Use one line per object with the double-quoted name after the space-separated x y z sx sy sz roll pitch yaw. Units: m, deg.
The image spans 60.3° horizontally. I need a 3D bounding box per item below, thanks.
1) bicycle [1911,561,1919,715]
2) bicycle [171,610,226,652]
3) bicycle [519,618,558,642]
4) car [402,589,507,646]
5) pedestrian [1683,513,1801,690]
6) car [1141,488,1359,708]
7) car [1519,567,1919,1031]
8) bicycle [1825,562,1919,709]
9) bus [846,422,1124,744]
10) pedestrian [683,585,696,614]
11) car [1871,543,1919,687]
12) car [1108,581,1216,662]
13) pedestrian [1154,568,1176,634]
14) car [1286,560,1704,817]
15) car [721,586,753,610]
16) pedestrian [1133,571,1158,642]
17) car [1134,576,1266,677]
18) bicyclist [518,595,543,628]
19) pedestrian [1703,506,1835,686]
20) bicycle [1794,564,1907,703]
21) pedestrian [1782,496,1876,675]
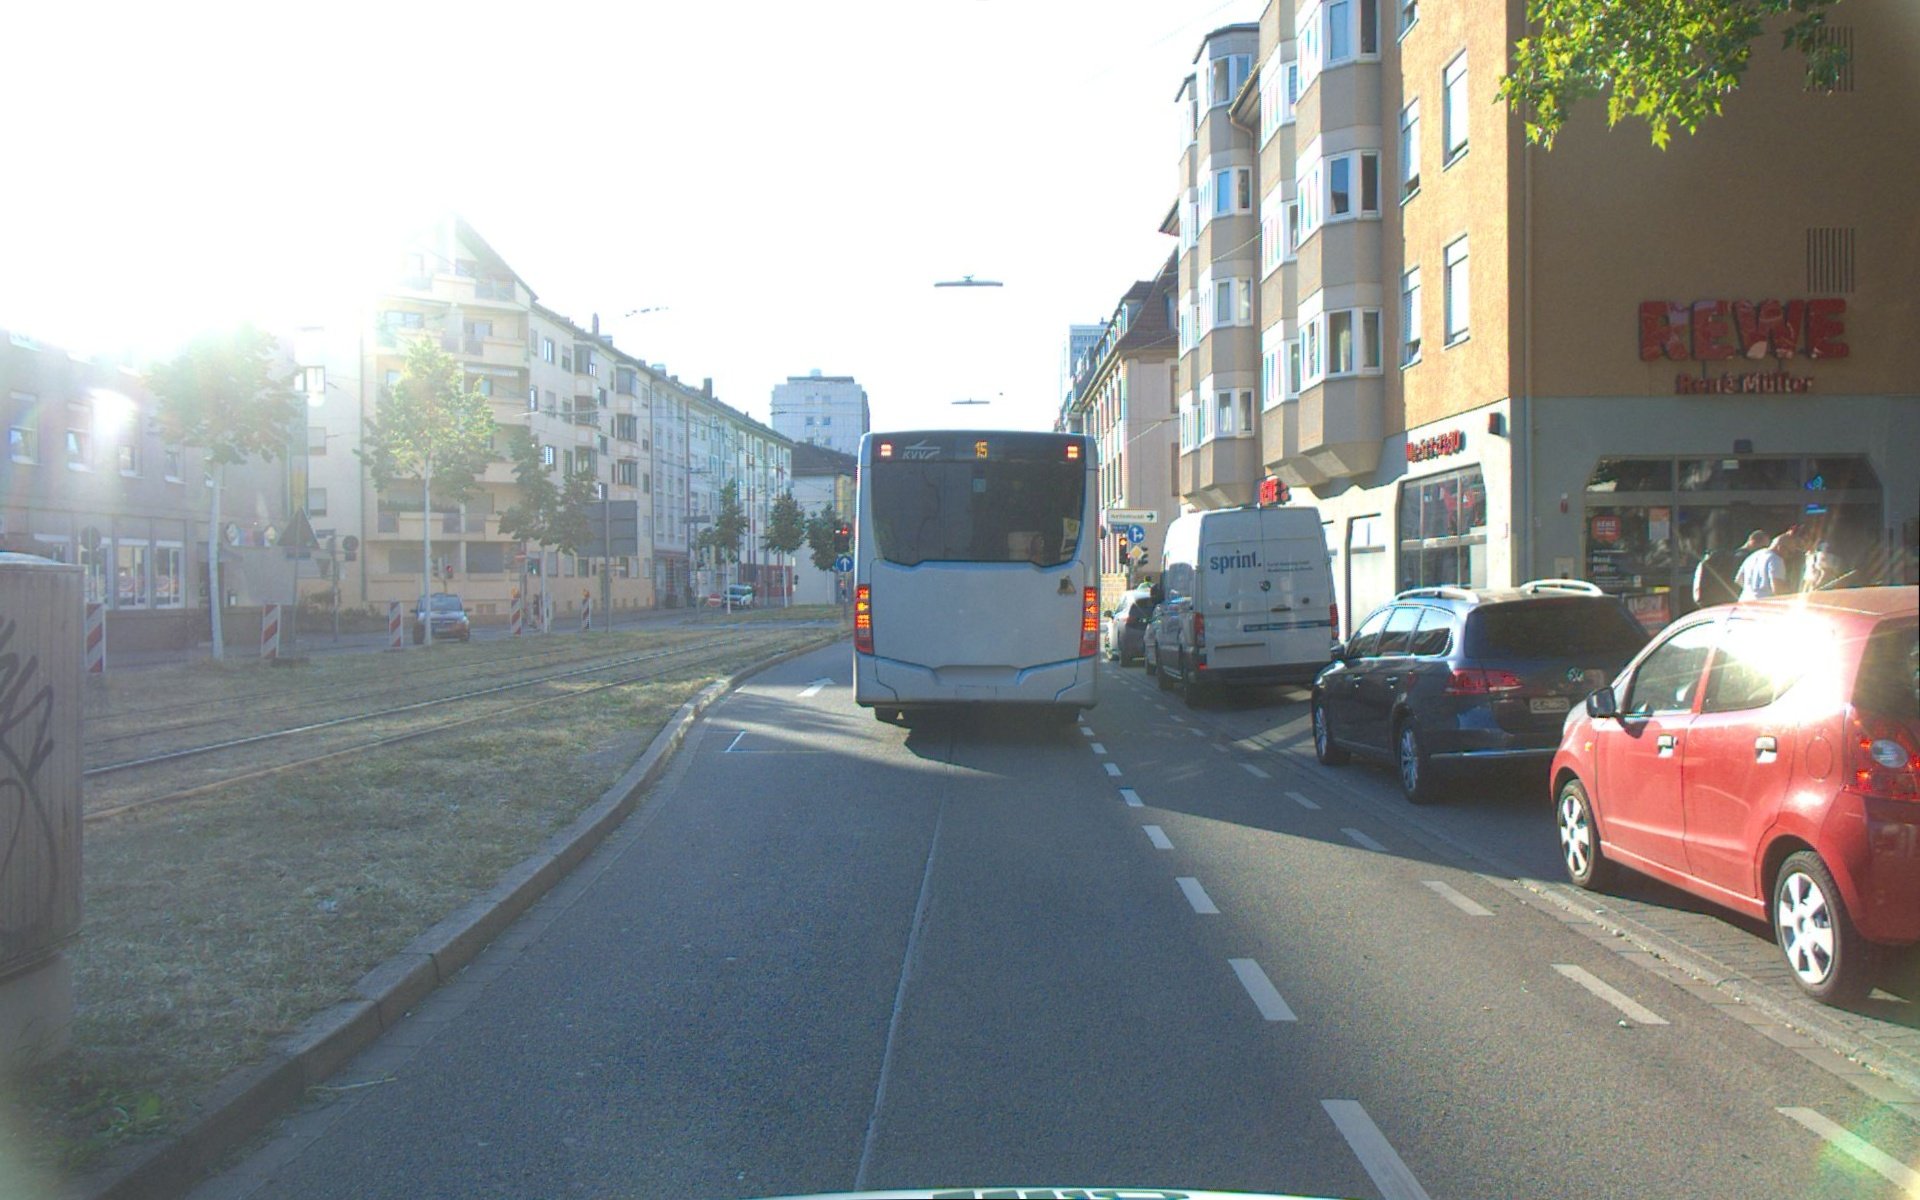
8.508 0.288 13.794 0.636 1.248 1.572 -1 0 43 "bicycle"
-21.758 0.886 47.291 0.731 1.134 1.778 -1 0 1 "bicycle"
-18.931 1.344 74.372 0.518 1.001 1.879 -1 0 31 "bicycle"
-16.769 0.540 55.126 1.774 1.587 4.936 -3 1 2 "car"
8.269 0.005 17.516 0.790 1.782 0.769 -4 1 1 "pedestrian"
3.939 -0.042 23.531 1.976 2.595 5.785 -4 0 1 "car"
3.886 0.644 7.385 1.537 1.520 3.626 -3 0 1 "car"
8.487 0.291 14.891 1.566 1.248 0.642 -1 0 -38 "bicycle"
0.310 -0.199 20.561 2.682 3.109 8.854 1 0 1 "bus"
-19.478 -0.059 119.124 0.771 2.049 0.890 -1 0 -3 "pedestrian"
11.747 0.108 16.713 3.932 1.457 1.999 -1 -3 -1 "car"
4.211 0.413 35.065 1.800 1.563 4.230 -1 0 1 "car"
5.761 0.024 46.523 0.535 1.815 0.449 -1 0 0 "pedestrian"
3.924 0.561 13.031 1.662 1.557 4.651 -4 0 -1 "car"
-17.410 -0.142 129.079 1.774 1.829 4.246 -1 0 2 "car"
4.754 0.158 42.494 0.536 1.815 0.449 -1 0 -4 "pedestrian"
4.145 0.422 29.074 1.800 1.615 3.786 -1 0 1 "car"
-19.185 0.504 73.906 0.518 1.472 0.963 -1 0 31 "bicyclist"
7.894 -0.049 16.179 0.646 1.664 0.989 -4 1 -7 "pedestrian"
8.445 0.294 15.667 1.506 1.248 0.398 -1 0 -40 "bicycle"
9.157 -0.156 17.439 0.517 1.812 0.650 -4 1 -7 "pedestrian"
